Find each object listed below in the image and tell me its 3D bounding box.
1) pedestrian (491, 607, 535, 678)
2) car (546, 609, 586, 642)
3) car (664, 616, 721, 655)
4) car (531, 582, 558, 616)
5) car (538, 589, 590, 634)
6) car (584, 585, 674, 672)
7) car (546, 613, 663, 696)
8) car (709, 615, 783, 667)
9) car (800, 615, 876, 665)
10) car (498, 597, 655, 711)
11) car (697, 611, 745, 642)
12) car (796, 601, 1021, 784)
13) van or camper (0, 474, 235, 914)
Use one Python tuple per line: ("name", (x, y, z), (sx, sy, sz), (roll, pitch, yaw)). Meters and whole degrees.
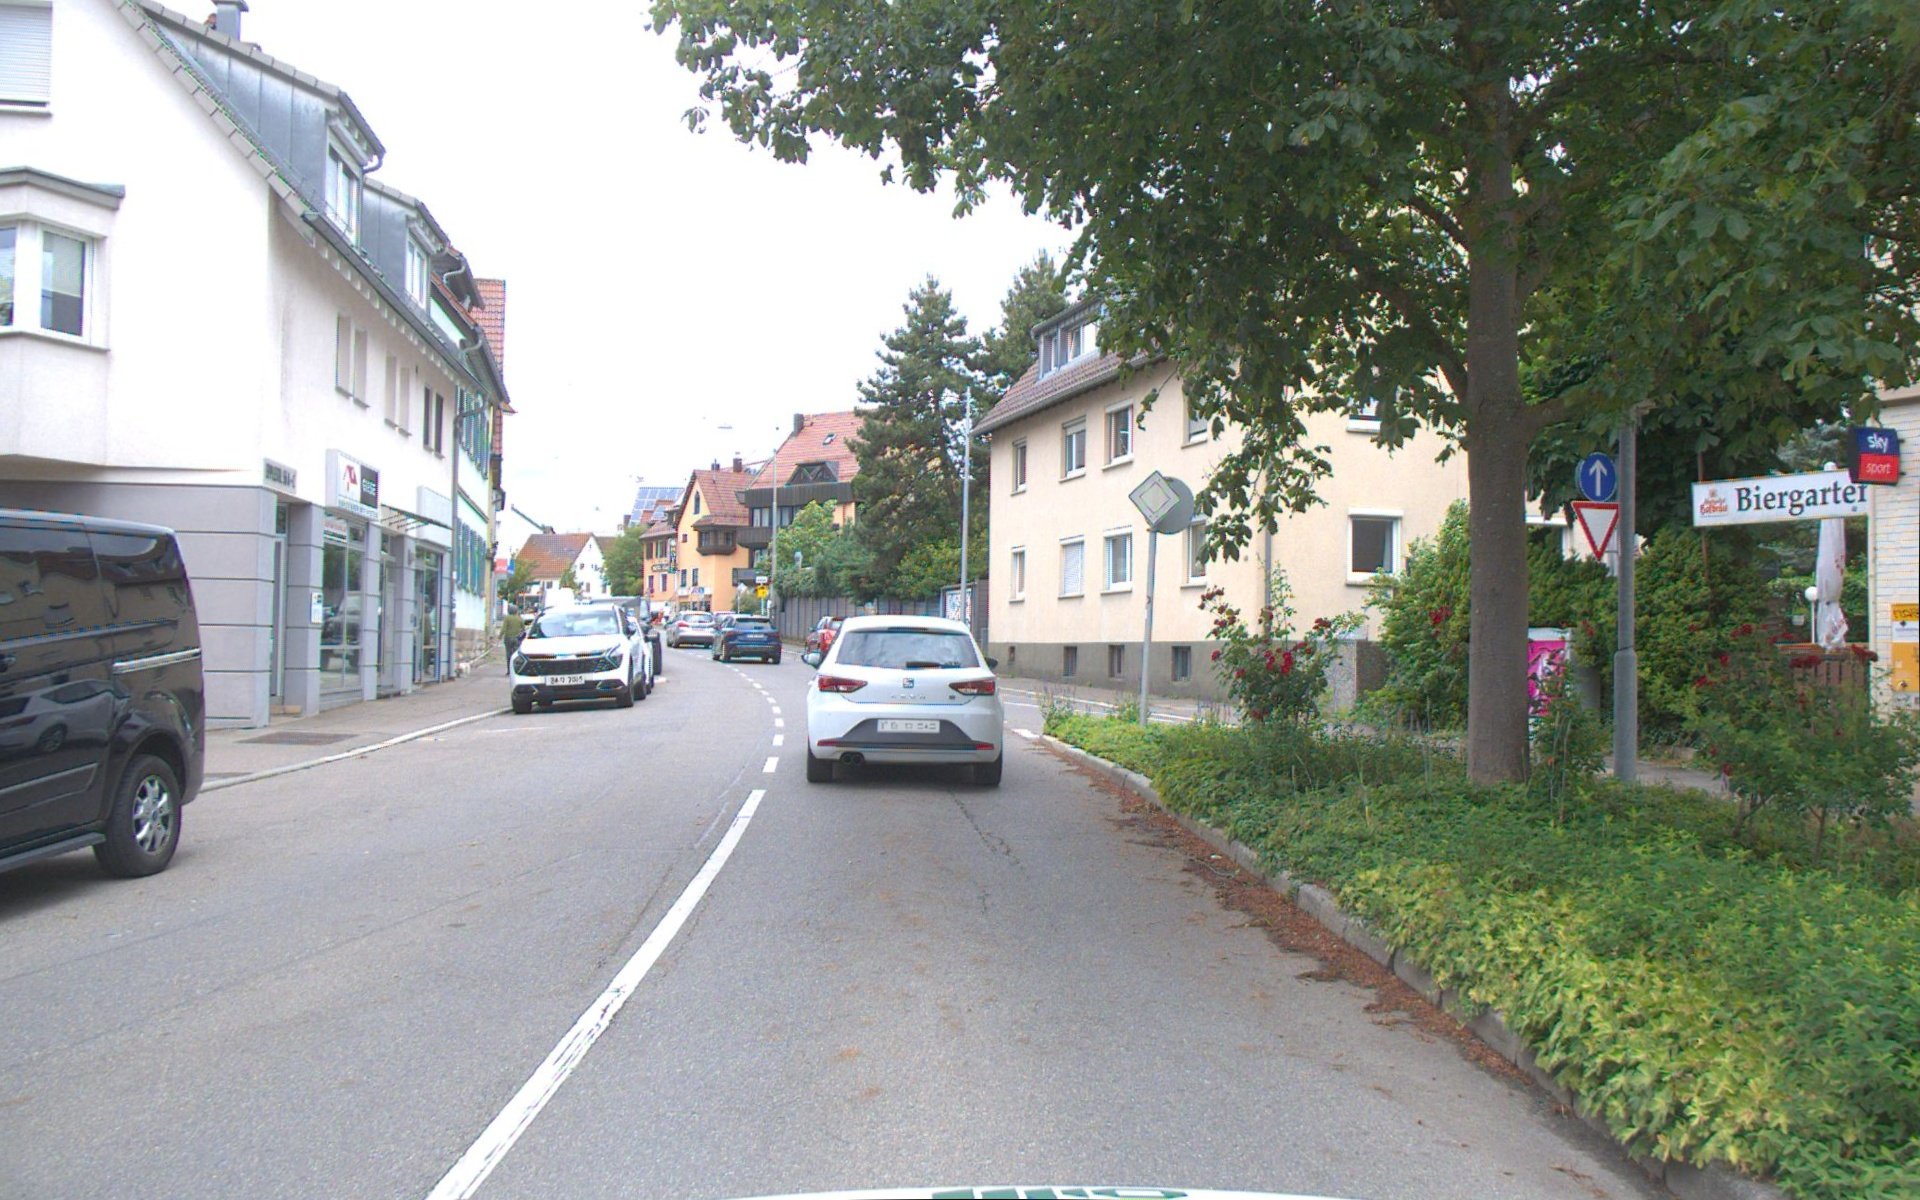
("pedestrian", (-9.900, 0.937, 36.661), (0.791, 1.526, 0.973), (3, -2, -10))
("car", (-19.362, 1.227, 81.202), (1.770, 1.505, 4.033), (-1, 0, -16))
("car", (-10.761, 1.394, 66.426), (1.730, 1.477, 3.981), (1, -1, -17))
("car", (-35.406, -0.085, 140.884), (2.116, 2.734, 5.374), (3, -1, -15))
("car", (-25.270, 0.737, 105.690), (2.109, 2.734, 5.541), (2, -1, -3))
("car", (-8.407, 0.693, 42.360), (1.956, 2.049, 4.661), (-1, 0, -8))
("car", (-6.874, 1.021, 32.311), (1.961, 1.461, 3.910), (2, -1, -9))
("car", (-6.497, 1.225, 49.954), (1.729, 1.477, 3.984), (1, -1, -14))
("car", (-3.978, 1.256, 53.197), (1.729, 1.477, 3.985), (3, -1, -14))
("car", (-6.230, 0.833, 27.383), (1.960, 1.662, 4.850), (2, -1, -7))
("car", (-11.998, 1.315, 82.794), (1.731, 1.477, 3.979), (2, -1, -18))
("car", (-0.611, 0.794, 15.548), (1.725, 1.477, 3.993), (1, -1, -7))
("van or camper", (-5.468, 0.452, 7.683), (2.031, 2.041, 4.857), (-1, -1, 0))
